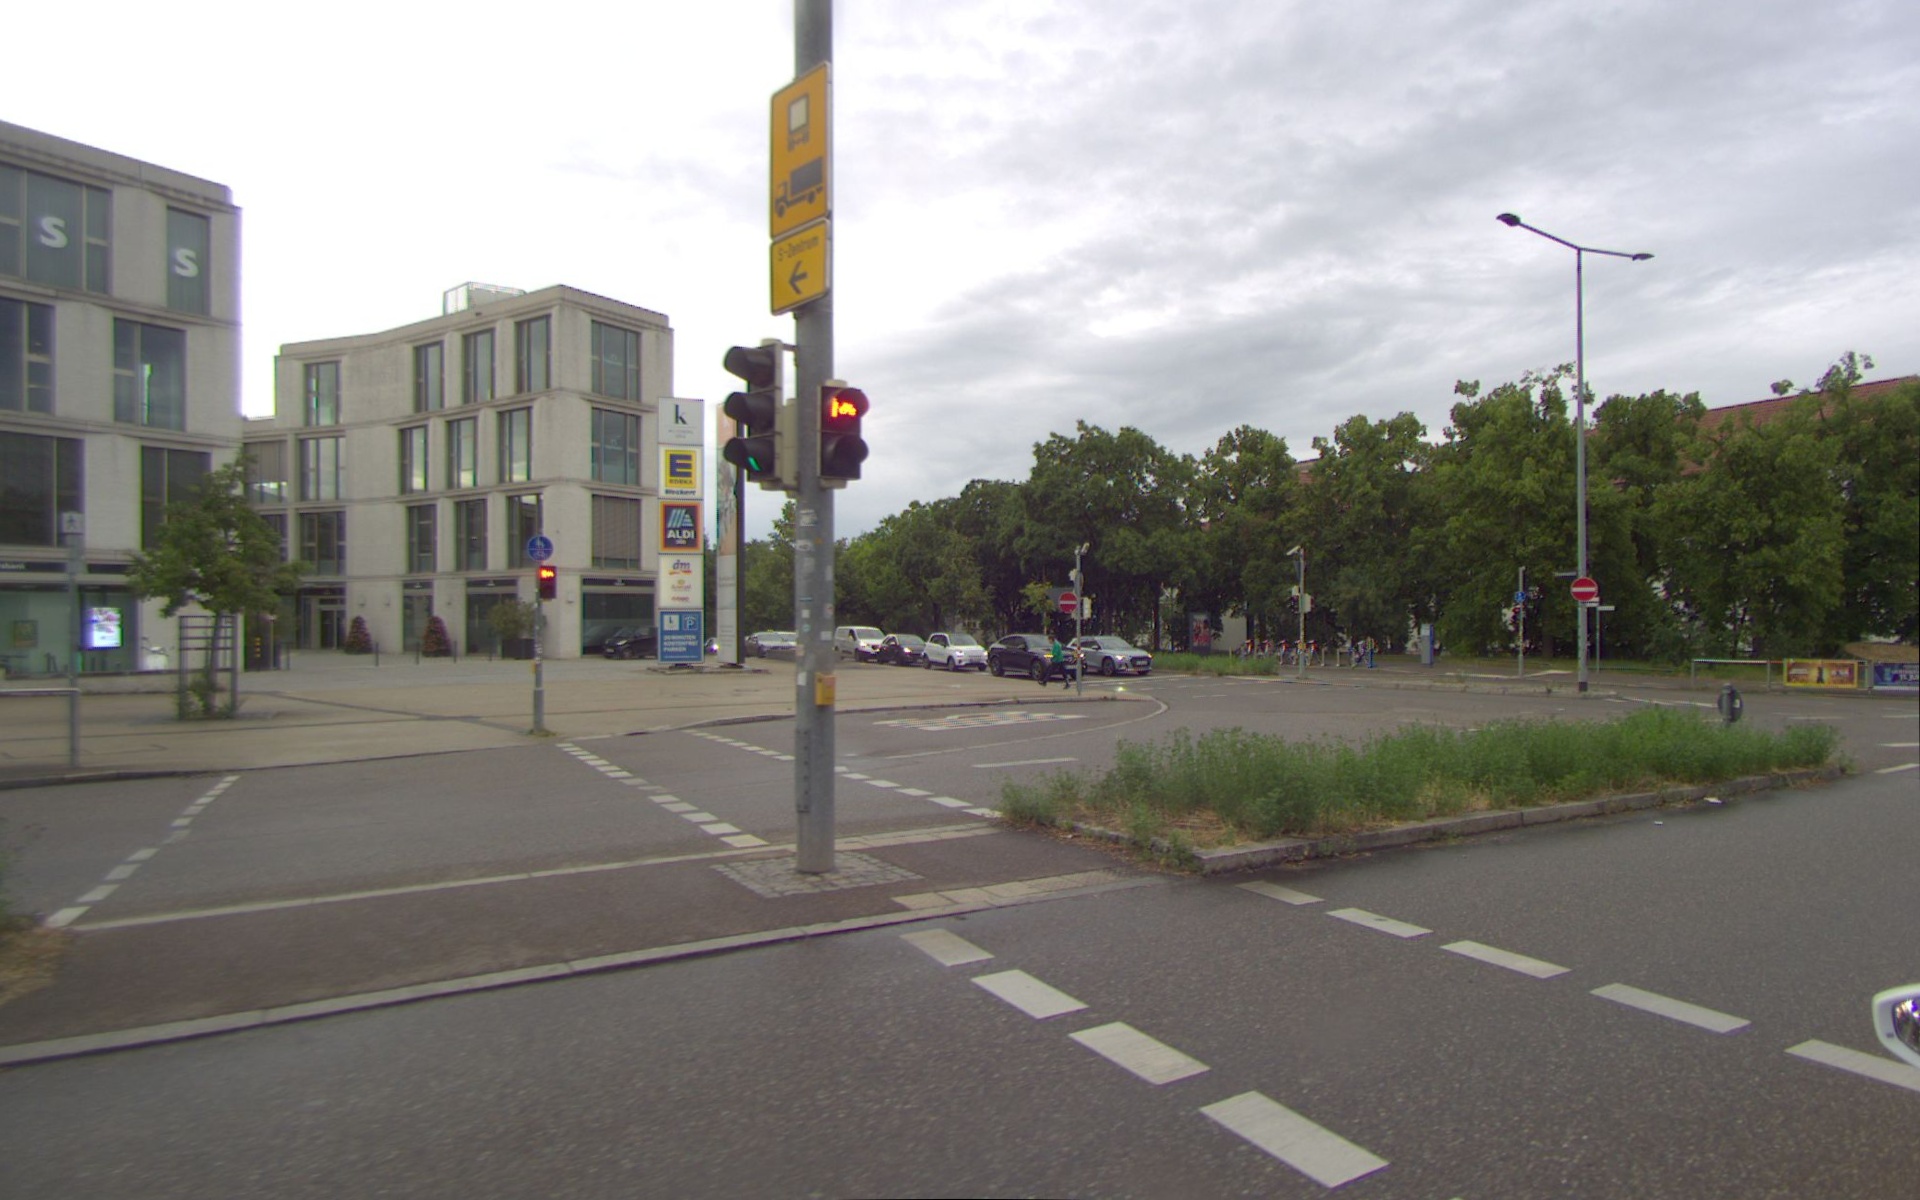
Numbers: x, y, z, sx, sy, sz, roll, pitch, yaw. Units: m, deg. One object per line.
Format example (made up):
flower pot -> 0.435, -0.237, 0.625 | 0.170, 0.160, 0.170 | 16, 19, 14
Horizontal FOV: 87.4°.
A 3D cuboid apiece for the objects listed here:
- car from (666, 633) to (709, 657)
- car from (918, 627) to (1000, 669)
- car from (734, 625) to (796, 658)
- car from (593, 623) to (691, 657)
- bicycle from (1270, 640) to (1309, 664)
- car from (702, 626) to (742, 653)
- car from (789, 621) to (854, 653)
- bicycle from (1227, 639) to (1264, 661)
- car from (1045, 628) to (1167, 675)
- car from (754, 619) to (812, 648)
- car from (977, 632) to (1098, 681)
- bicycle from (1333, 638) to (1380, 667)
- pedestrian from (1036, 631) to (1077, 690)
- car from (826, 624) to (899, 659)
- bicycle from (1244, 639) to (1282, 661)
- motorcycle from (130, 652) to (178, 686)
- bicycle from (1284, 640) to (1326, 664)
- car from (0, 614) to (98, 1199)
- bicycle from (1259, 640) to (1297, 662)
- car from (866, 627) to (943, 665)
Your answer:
car -> -20.833, 3.381, 76.634 | 1.976, 1.615, 4.855 | 2, -1, -29
car -> -0.082, 2.018, 42.682 | 1.976, 1.615, 3.536 | 2, -1, -30
car -> -10.977, 2.316, 56.345 | 1.976, 1.615, 4.855 | 2, -1, -29
car -> -14.829, 1.864, 46.964 | 1.968, 1.483, 3.985 | -1, -2, 37
bicycle -> 16.030, 2.533, 48.839 | 1.959, 1.085, 0.649 | 2, -1, -31
car -> -18.351, 3.007, 77.214 | 1.976, 2.040, 3.969 | 2, -2, -29
car -> -7.906, 2.093, 57.044 | 1.976, 1.615, 4.855 | 2, -1, -29
bicycle -> 14.623, 2.558, 51.428 | 1.959, 1.085, 0.649 | 2, -1, -31
car -> 5.501, 1.929, 38.540 | 1.976, 1.568, 5.001 | 2, -1, -29
car -> -11.111, 2.062, 62.761 | 1.978, 1.615, 4.852 | 2, -1, -31
car -> 2.760, 2.036, 36.898 | 1.976, 1.520, 5.001 | 2, -1, -29
bicycle -> 18.119, 2.397, 45.929 | 1.959, 1.266, 0.986 | 2, -1, -30
pedestrian -> 2.978, 1.849, 30.948 | 0.931, 1.750, 0.922 | 2, 0, -18
car -> -5.114, 2.118, 52.057 | 1.976, 1.615, 4.855 | 2, -1, -29
bicycle -> 15.294, 2.539, 50.699 | 1.959, 1.085, 0.649 | 2, -1, -31
motorcycle -> -19.537, 1.674, 24.351 | 1.081, 0.750, 0.522 | 1, 0, 29
bicycle -> 16.601, 2.495, 48.315 | 1.959, 1.085, 0.798 | 2, -1, -30
car -> -3.924, 0.722, 1.006 | 4.325, 1.501, 1.807 | 2, -2, -30
bicycle -> 15.728, 2.522, 49.699 | 1.959, 1.085, 0.649 | 2, -1, -31
car -> -2.699, 2.137, 47.562 | 1.976, 1.615, 4.185 | 2, -1, -29
